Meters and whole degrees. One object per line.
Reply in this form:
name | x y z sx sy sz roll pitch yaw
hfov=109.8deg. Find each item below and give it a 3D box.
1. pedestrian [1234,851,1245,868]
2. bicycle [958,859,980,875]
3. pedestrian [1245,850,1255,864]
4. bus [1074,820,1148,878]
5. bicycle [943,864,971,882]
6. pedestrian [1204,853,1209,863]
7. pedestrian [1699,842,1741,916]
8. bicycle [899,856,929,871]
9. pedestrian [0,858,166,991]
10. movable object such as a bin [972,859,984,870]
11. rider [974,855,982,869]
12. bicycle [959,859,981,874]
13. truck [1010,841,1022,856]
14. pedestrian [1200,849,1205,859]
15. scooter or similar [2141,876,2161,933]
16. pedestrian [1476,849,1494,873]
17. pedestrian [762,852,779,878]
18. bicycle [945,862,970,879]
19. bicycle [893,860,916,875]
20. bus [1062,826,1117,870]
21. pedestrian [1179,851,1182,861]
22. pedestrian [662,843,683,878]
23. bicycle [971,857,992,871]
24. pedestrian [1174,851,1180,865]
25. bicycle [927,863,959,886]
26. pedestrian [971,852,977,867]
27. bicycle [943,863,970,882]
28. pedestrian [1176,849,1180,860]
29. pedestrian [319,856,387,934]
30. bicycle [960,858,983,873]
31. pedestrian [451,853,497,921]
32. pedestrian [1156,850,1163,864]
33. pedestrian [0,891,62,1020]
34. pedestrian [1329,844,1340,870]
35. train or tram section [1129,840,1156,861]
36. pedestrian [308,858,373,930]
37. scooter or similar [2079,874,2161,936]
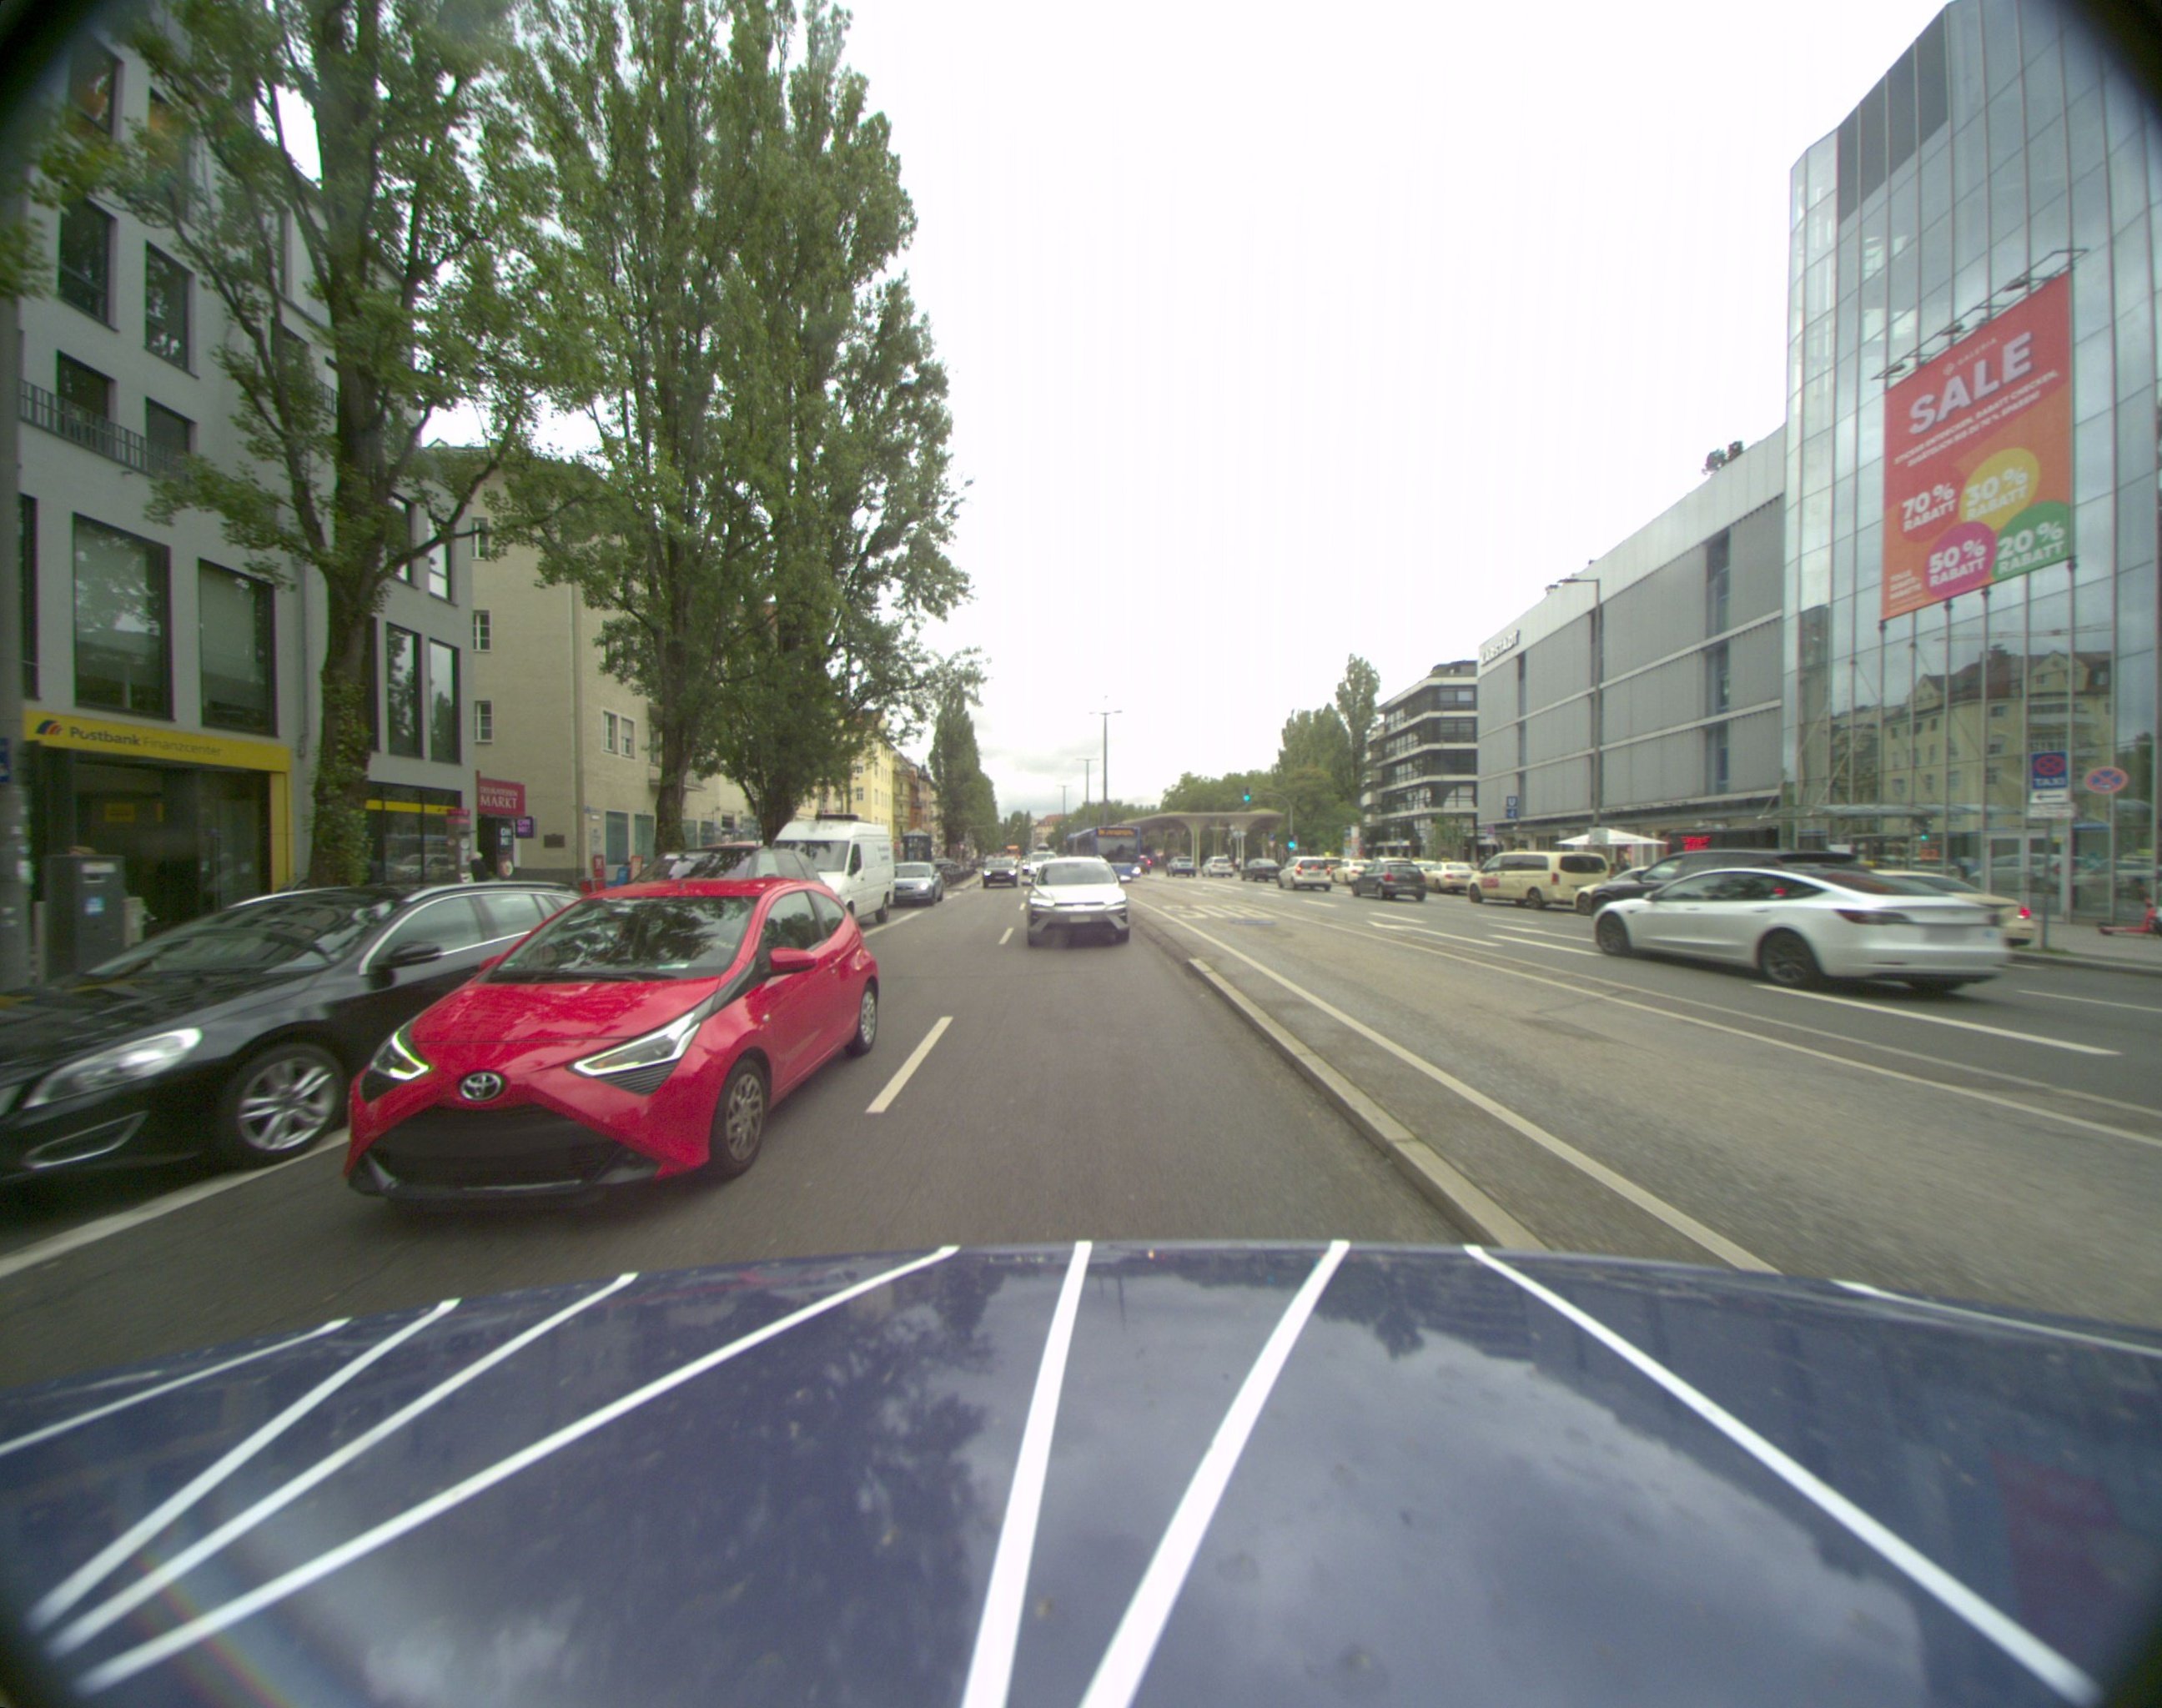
pedestrian | 14.247 0.499 68.321 0.640 1.543 0.759 -2 2 -30
bicycle | -8.259 0.971 56.092 1.790 1.131 0.490 -1 1 40
pedestrian | 20.071 0.350 90.347 0.861 1.767 0.980 0 1 -4
bus | 1.517 -0.349 45.019 2.943 2.927 11.206 -1 1 -5
bicycle | -7.437 1.141 45.428 1.797 1.004 0.387 -4 -1 34
pedestrian | 16.508 0.518 100.005 0.549 1.330 0.591 0 1 -5
pedestrian | 16.685 0.624 19.840 0.786 1.856 0.848 2 2 41
bicycle | -14.097 0.803 64.143 2.331 1.220 0.628 0 1 -2
pedestrian | -12.915 0.866 9.872 0.802 1.627 1.023 0 1 -3
movable object such as a bin | -9.811 0.994 72.127 1.090 1.056 0.747 2 1 -7
rider | -9.744 0.762 72.120 0.732 1.234 0.732 2 1 -7
bicycle | -8.519 0.941 58.224 1.791 1.131 0.490 -1 1 34
truck | -14.818 -1.294 173.579 2.542 3.468 7.748 0 0 -4
pedestrian | 15.972 0.001 99.742 0.549 1.330 0.591 0 1 -5
scooter or similar | 22.417 1.046 15.431 0.255 1.166 0.996 0 1 -18
pedestrian | 26.458 0.440 49.777 0.733 1.537 0.900 0 1 9
pedestrian | -17.717 0.624 43.373 0.678 1.519 0.729 0 1 -3
bicycle | -8.225 1.091 50.661 1.797 1.053 0.398 -4 -1 34
bicycle | -13.027 0.958 56.109 0.409 1.071 1.765 2 1 36
bus | 0.432 -0.514 56.835 2.943 2.927 11.206 -1 1 -5
pedestrian | 13.189 0.284 100.639 0.303 1.369 0.270 0 1 -7
pedestrian | -19.668 0.303 36.584 0.602 1.641 0.765 0 1 -3
bicycle | -8.210 0.849 62.902 1.780 1.131 0.479 -1 1 30
pedestrian | 12.278 0.526 96.981 0.666 1.840 0.789 0 1 15
bicycle | -6.879 1.040 37.873 1.572 1.048 0.548 -4 -1 34
pedestrian | -13.613 0.676 96.364 0.732 1.792 0.709 0 3 -14
bicycle | -7.527 1.133 46.027 1.797 1.004 0.387 -4 -1 34
pedestrian | 12.875 0.105 100.911 0.335 1.493 0.317 0 1 -14
pedestrian | -15.674 0.863 16.385 0.693 1.639 0.798 0 1 -4
bicycle | -8.564 0.918 59.559 1.791 1.131 0.591 -1 1 32
pedestrian | -15.680 0.834 19.637 0.719 1.714 0.741 1 1 33
pedestrian | 9.885 0.406 95.579 0.712 1.738 0.788 0 1 -5
pedestrian | -11.630 1.093 8.192 0.597 1.334 0.391 -2 2 -25
pedestrian | 17.352 0.194 51.978 0.525 1.719 0.428 -2 2 -5
train or tram section | 9.042 -0.524 112.786 2.841 2.983 7.404 0 0 -5
pedestrian | -16.579 0.877 17.033 0.693 1.576 0.772 0 1 -4
scooter or similar | 21.419 1.035 15.670 0.255 1.217 0.996 0 1 -11
